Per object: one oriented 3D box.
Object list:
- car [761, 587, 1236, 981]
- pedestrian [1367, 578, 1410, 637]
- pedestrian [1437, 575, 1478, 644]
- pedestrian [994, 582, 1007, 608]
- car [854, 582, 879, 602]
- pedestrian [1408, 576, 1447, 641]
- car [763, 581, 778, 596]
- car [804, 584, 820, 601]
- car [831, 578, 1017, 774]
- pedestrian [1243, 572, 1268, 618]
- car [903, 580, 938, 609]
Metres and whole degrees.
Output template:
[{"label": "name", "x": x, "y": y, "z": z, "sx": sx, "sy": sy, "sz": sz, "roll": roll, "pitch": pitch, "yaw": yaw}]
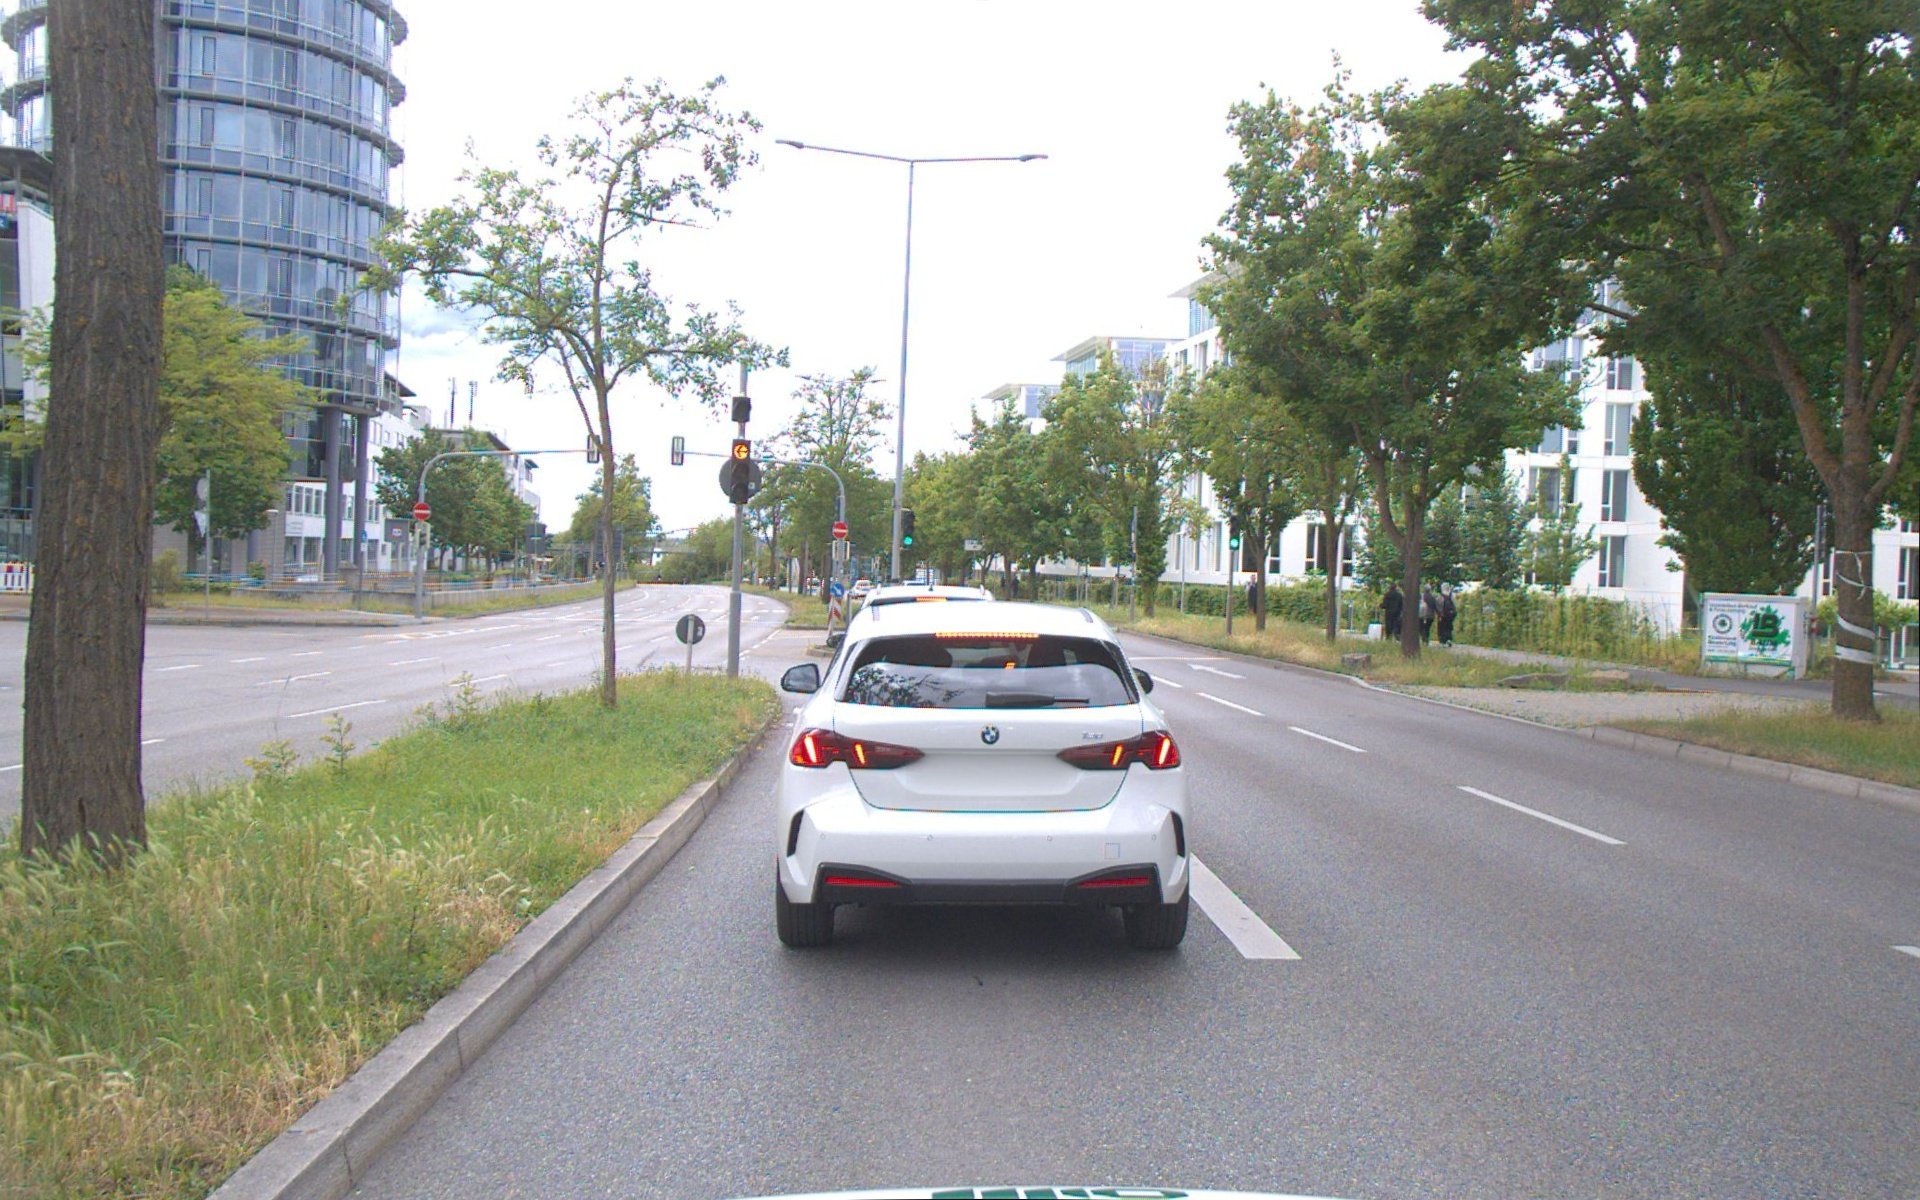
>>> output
[{"label": "car", "x": 0.122, "y": 0.694, "z": 8.321, "sx": 1.785, "sy": 1.463, "sz": 3.999, "roll": 1, "pitch": 0, "yaw": -1}, {"label": "pedestrian", "x": 10.928, "y": 0.202, "z": 42.235, "sx": 0.773, "sy": 1.473, "sz": 1.111, "roll": 1, "pitch": 0, "yaw": -2}, {"label": "pedestrian", "x": 12.572, "y": 0.228, "z": 41.820, "sx": 0.751, "sy": 1.715, "sz": 0.883, "roll": 1, "pitch": -1, "yaw": -2}, {"label": "pedestrian", "x": 3.214, "y": -0.394, "z": 131.601, "sx": 0.749, "sy": 2.049, "sz": 0.751, "roll": 1, "pitch": 0, "yaw": -16}, {"label": "car", "x": -7.544, "y": -0.660, "z": 133.233, "sx": 1.661, "sy": 1.512, "sz": 3.686, "roll": 1, "pitch": 0, "yaw": -9}, {"label": "pedestrian", "x": 11.817, "y": 0.215, "z": 41.811, "sx": 0.685, "sy": 1.623, "sz": 0.883, "roll": 1, "pitch": 0, "yaw": -2}, {"label": "car", "x": -22.965, "y": -1.365, "z": 200.235, "sx": 1.570, "sy": 1.695, "sz": 3.997, "roll": 1, "pitch": 0, "yaw": -4}, {"label": "car", "x": -16.080, "y": -0.813, "z": 179.681, "sx": 1.705, "sy": 1.695, "sz": 3.997, "roll": 1, "pitch": 0, "yaw": -4}, {"label": "car", "x": -0.331, "y": 0.627, "z": 15.833, "sx": 1.518, "sy": 1.596, "sz": 3.999, "roll": 1, "pitch": 0, "yaw": -1}, {"label": "pedestrian", "x": 10.403, "y": -0.173, "z": 58.202, "sx": 0.726, "sy": 1.601, "sz": 0.674, "roll": 1, "pitch": -1, "yaw": -2}, {"label": "car", "x": -2.414, "y": -0.338, "z": 99.658, "sx": 1.954, "sy": 1.699, "sz": 3.997, "roll": 0, "pitch": 0, "yaw": -4}]
